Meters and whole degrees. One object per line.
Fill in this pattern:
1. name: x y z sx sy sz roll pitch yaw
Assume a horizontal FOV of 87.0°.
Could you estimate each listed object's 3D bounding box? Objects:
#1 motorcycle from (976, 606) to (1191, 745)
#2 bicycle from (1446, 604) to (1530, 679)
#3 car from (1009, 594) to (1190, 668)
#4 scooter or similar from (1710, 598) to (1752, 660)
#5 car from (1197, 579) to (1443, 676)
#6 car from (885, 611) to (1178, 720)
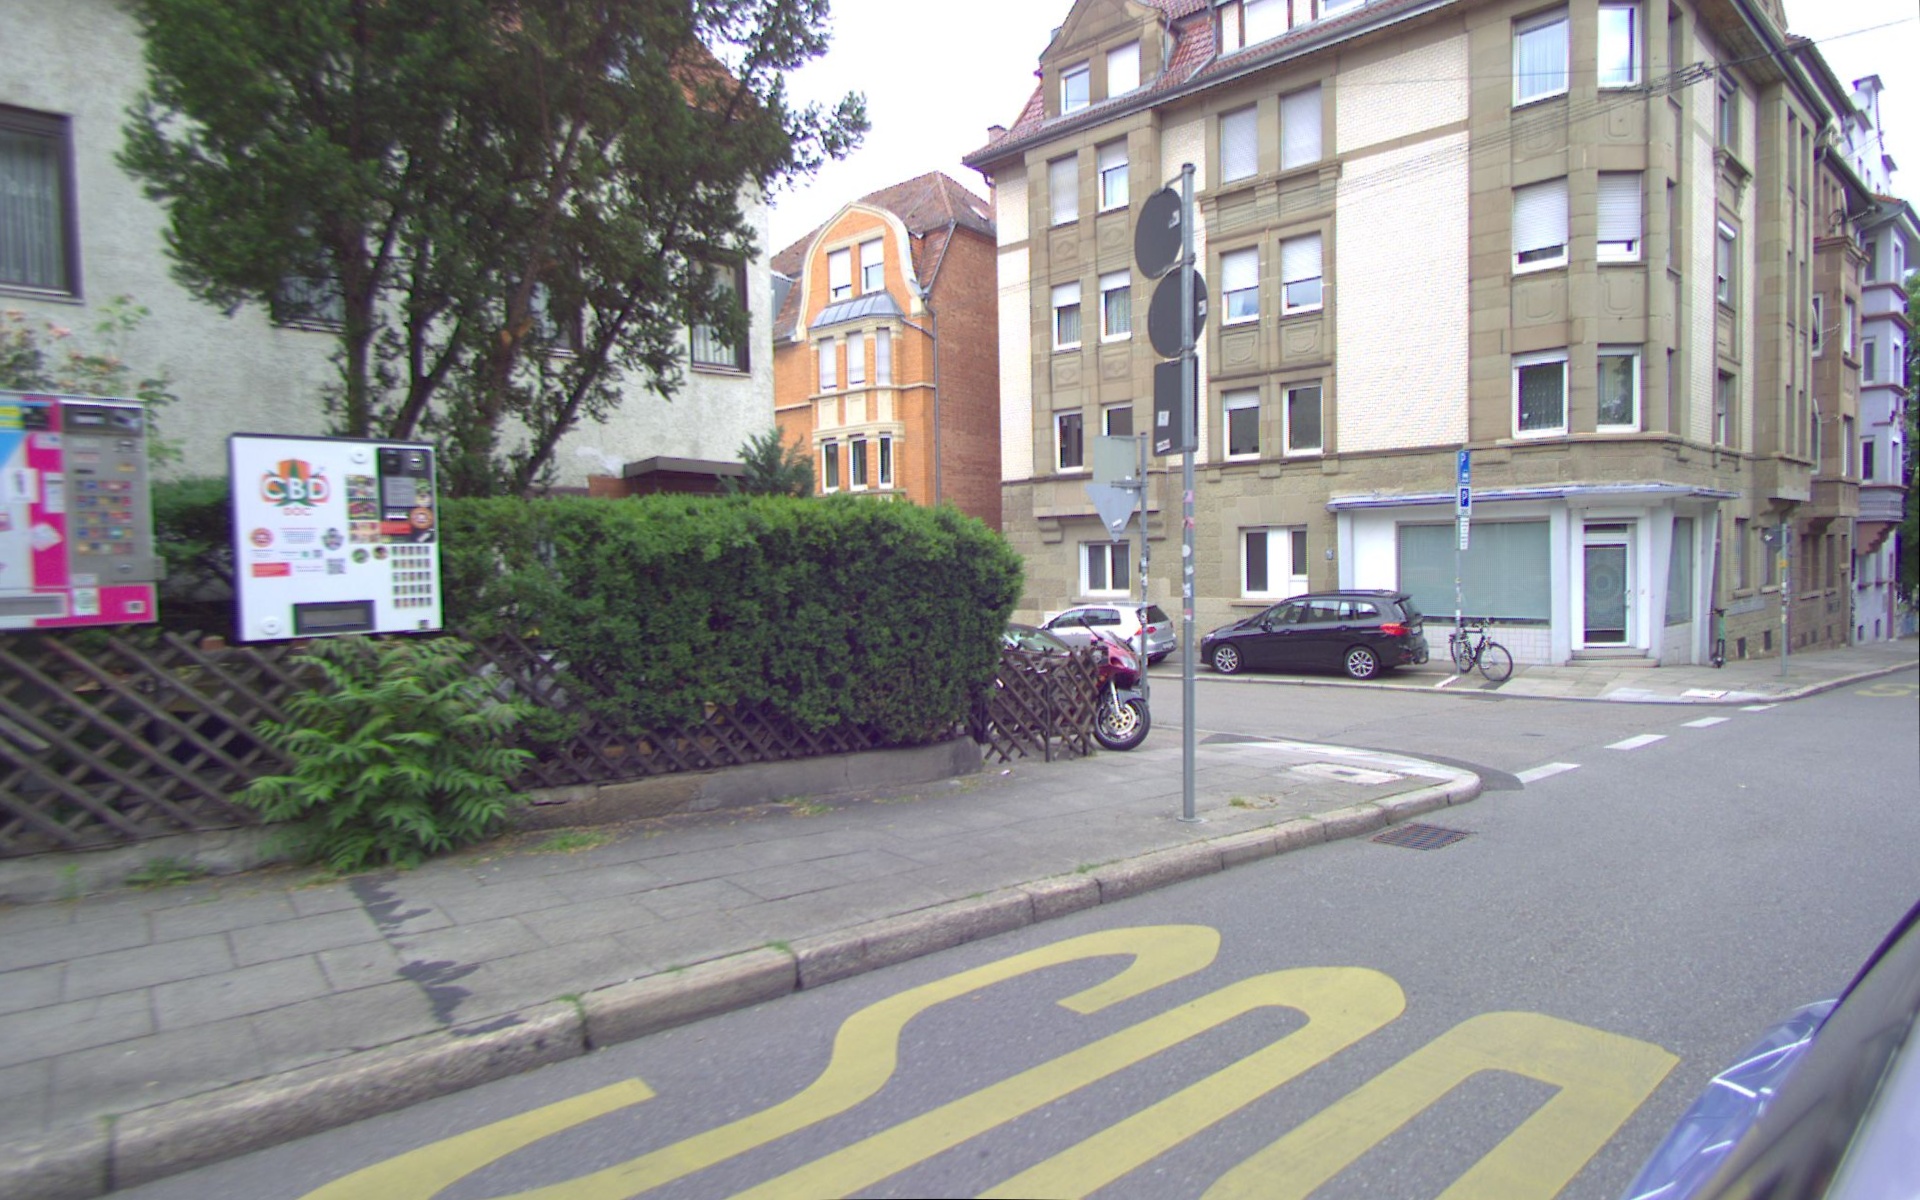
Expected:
1. motorcycle: 1.238 0.716 10.519 0.993 1.284 2.056 0 -1 -44
2. bicycle: 9.822 0.740 18.912 0.630 1.153 2.074 -3 4 5
3. car: 3.218 0.672 23.672 3.854 1.480 1.666 0 4 39
4. scooter or similar: 15.988 0.607 20.969 1.125 1.225 0.411 4 0 -41
5. car: 7.237 0.499 20.546 4.354 1.665 1.763 -1 4 39
6. car: 0.900 0.868 14.598 1.752 1.302 4.129 5 -3 -42
